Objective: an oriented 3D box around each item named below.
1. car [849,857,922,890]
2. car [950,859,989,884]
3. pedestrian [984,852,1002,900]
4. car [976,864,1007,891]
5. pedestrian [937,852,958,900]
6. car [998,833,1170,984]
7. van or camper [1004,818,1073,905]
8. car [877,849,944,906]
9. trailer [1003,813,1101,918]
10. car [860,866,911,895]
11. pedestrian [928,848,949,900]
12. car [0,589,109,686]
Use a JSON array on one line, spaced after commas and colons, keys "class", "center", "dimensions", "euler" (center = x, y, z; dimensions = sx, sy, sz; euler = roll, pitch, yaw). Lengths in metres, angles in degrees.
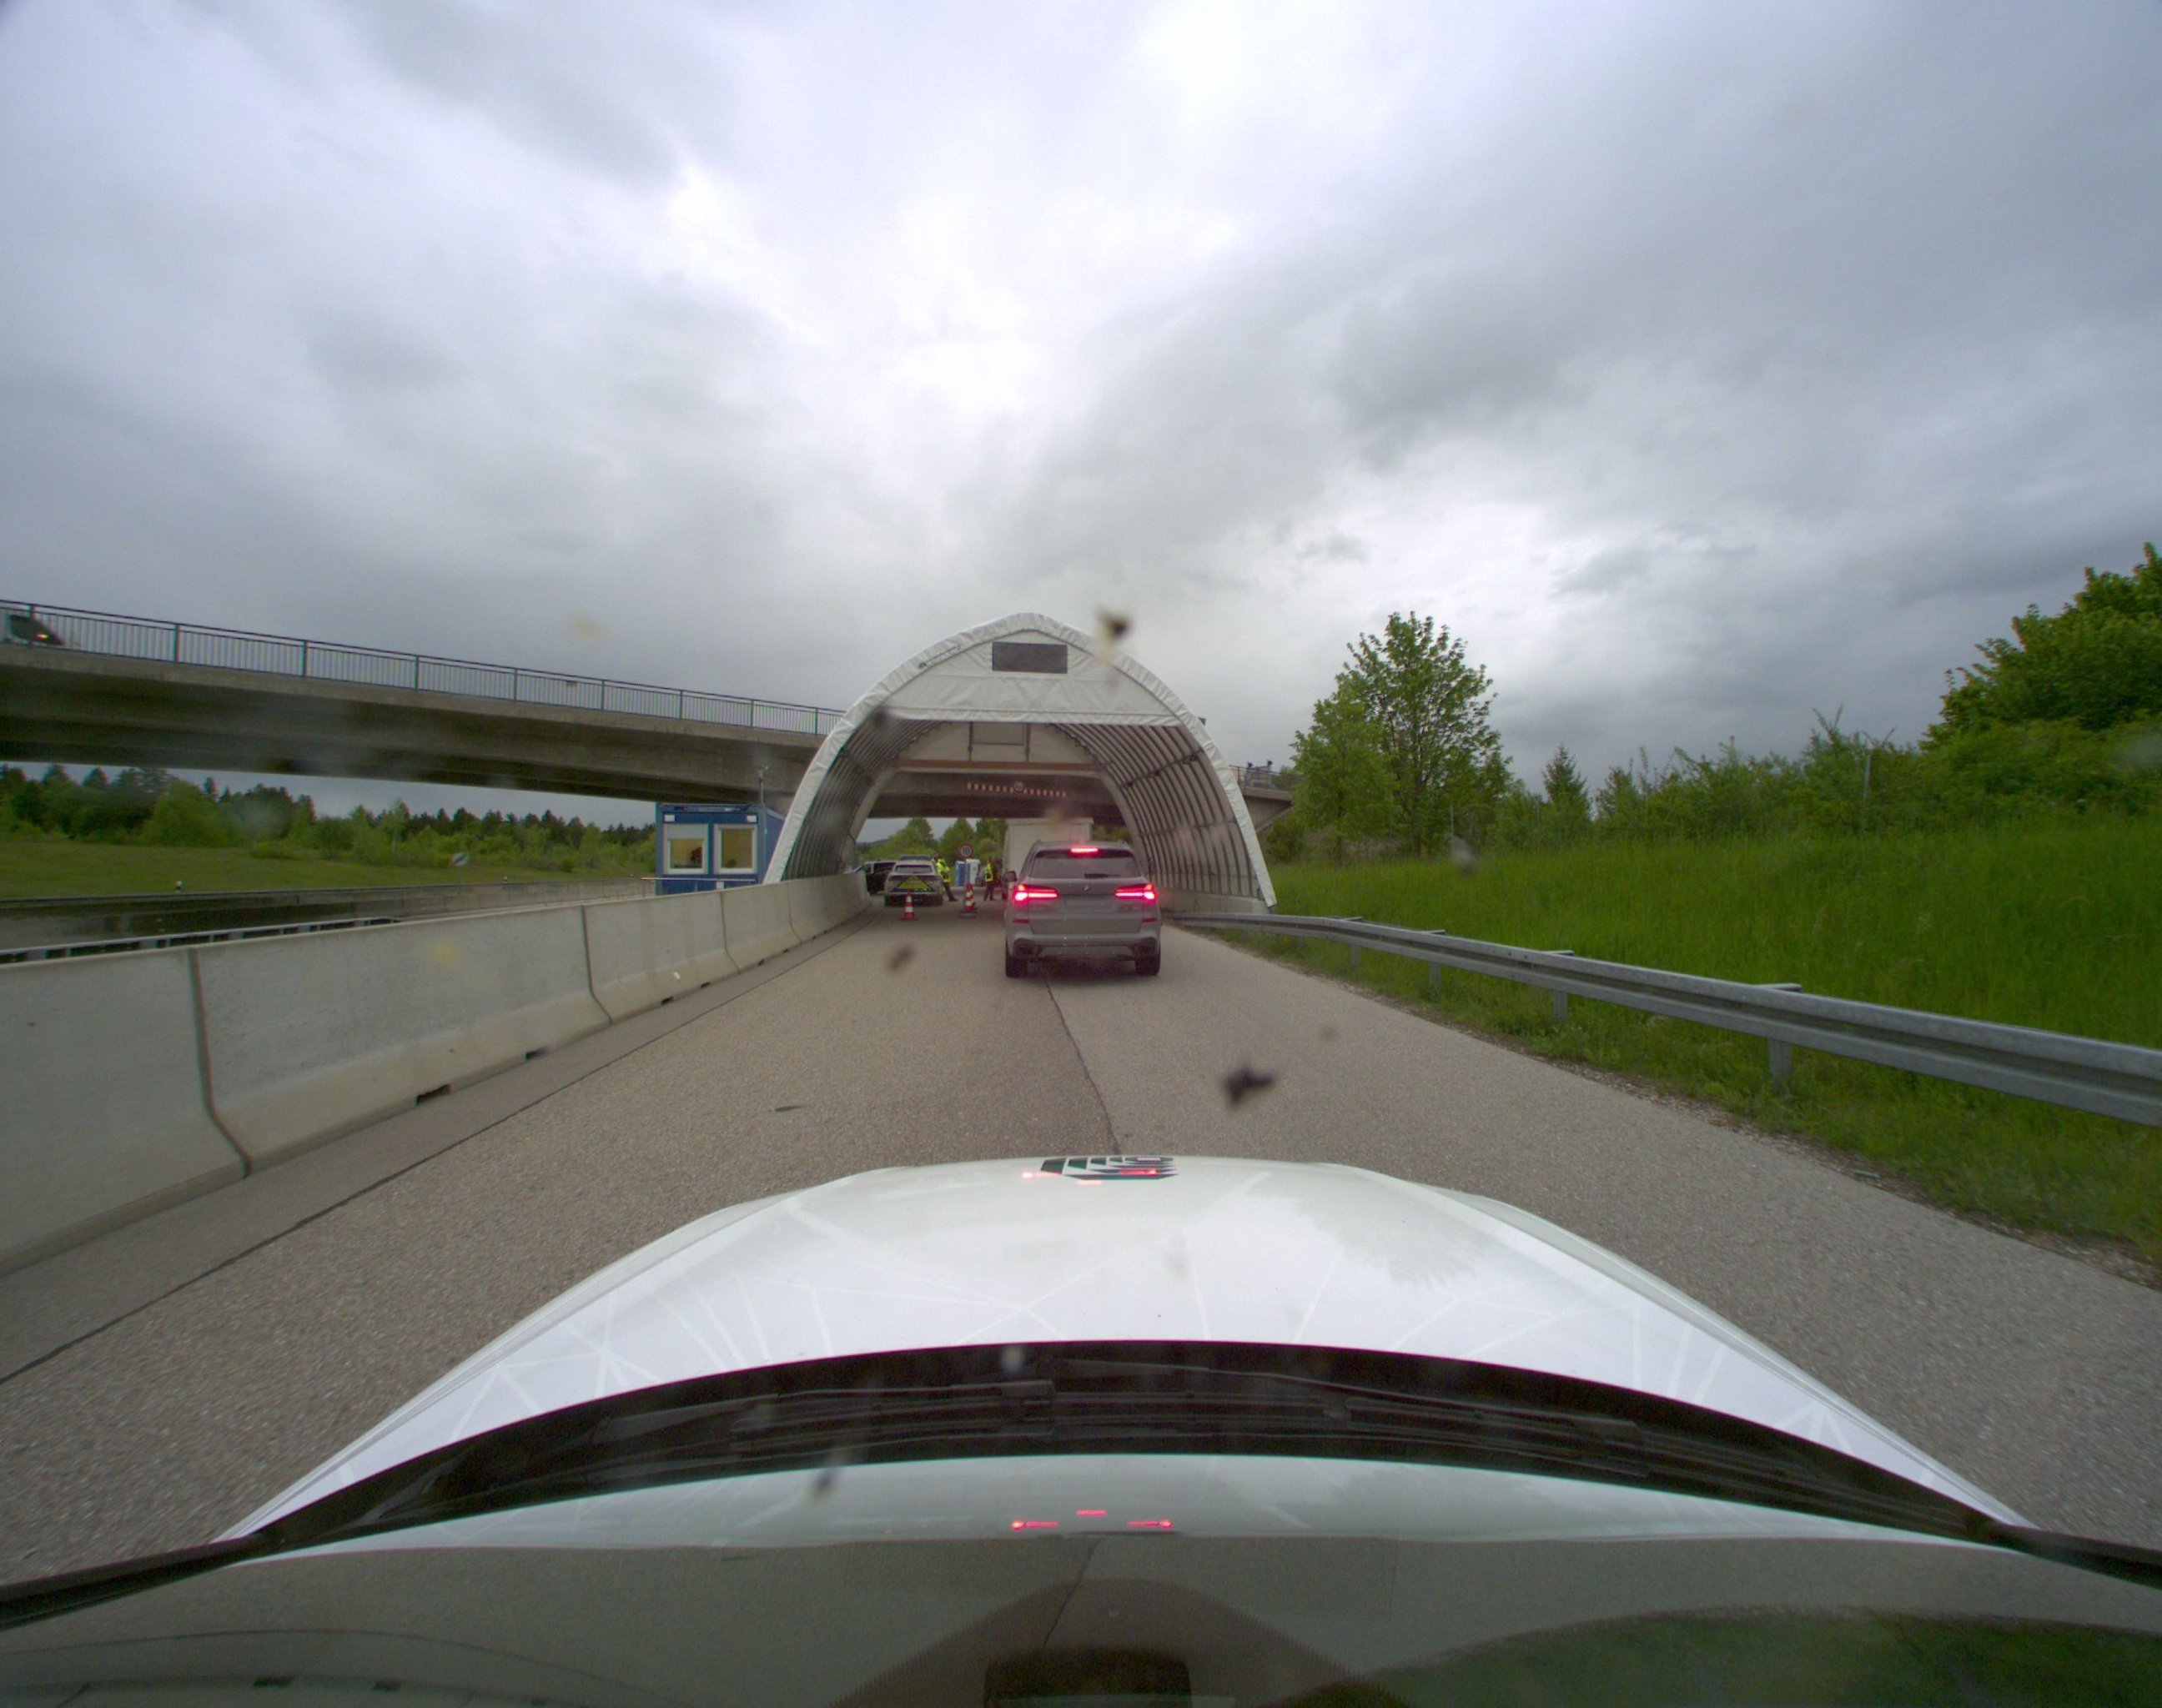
[{"class": "car", "center": [-12.082, 1.195, 50.462], "dimensions": [3.966, 1.854, 1.712], "euler": [-2, -1, 6]}, {"class": "car", "center": [-9.546, 1.482, 69.281], "dimensions": [2.005, 2.014, 3.963], "euler": [-1, -1, -28]}, {"class": "pedestrian", "center": [-3.322, 0.810, 30.657], "dimensions": [0.604, 1.775, 0.648], "euler": [-1, -1, -9]}, {"class": "car", "center": [-6.639, 1.673, 59.918], "dimensions": [1.706, 1.854, 3.981], "euler": [-1, -1, -14]}, {"class": "pedestrian", "center": [-4.961, 0.813, 30.273], "dimensions": [0.720, 1.775, 0.688], "euler": [-1, -1, -9]}, {"class": "car", "center": [0.001, 0.660, 11.474], "dimensions": [1.988, 1.719, 3.998], "euler": [-1, -1, -1]}, {"class": "van or camper", "center": [-1.637, 0.305, 29.022], "dimensions": [2.154, 2.764, 5.858], "euler": [-1, -1, -6]}, {"class": "car", "center": [-5.752, 0.779, 27.860], "dimensions": [1.993, 1.772, 3.753], "euler": [-1, -1, -9]}, {"class": "trailer", "center": [-0.942, 0.348, 22.640], "dimensions": [2.275, 2.431, 6.805], "euler": [-1, -1, -5]}, {"class": "car", "center": [-10.418, 1.392, 43.289], "dimensions": [1.526, 1.442, 3.280], "euler": [-1, -1, -34]}, {"class": "pedestrian", "center": [-5.452, 0.760, 31.199], "dimensions": [0.720, 1.945, 0.688], "euler": [-1, -1, -9]}, {"class": "car", "center": [-32.783, -6.479, 23.485], "dimensions": [5.776, 2.251, 1.978], "euler": [-1, -1, -35]}]
